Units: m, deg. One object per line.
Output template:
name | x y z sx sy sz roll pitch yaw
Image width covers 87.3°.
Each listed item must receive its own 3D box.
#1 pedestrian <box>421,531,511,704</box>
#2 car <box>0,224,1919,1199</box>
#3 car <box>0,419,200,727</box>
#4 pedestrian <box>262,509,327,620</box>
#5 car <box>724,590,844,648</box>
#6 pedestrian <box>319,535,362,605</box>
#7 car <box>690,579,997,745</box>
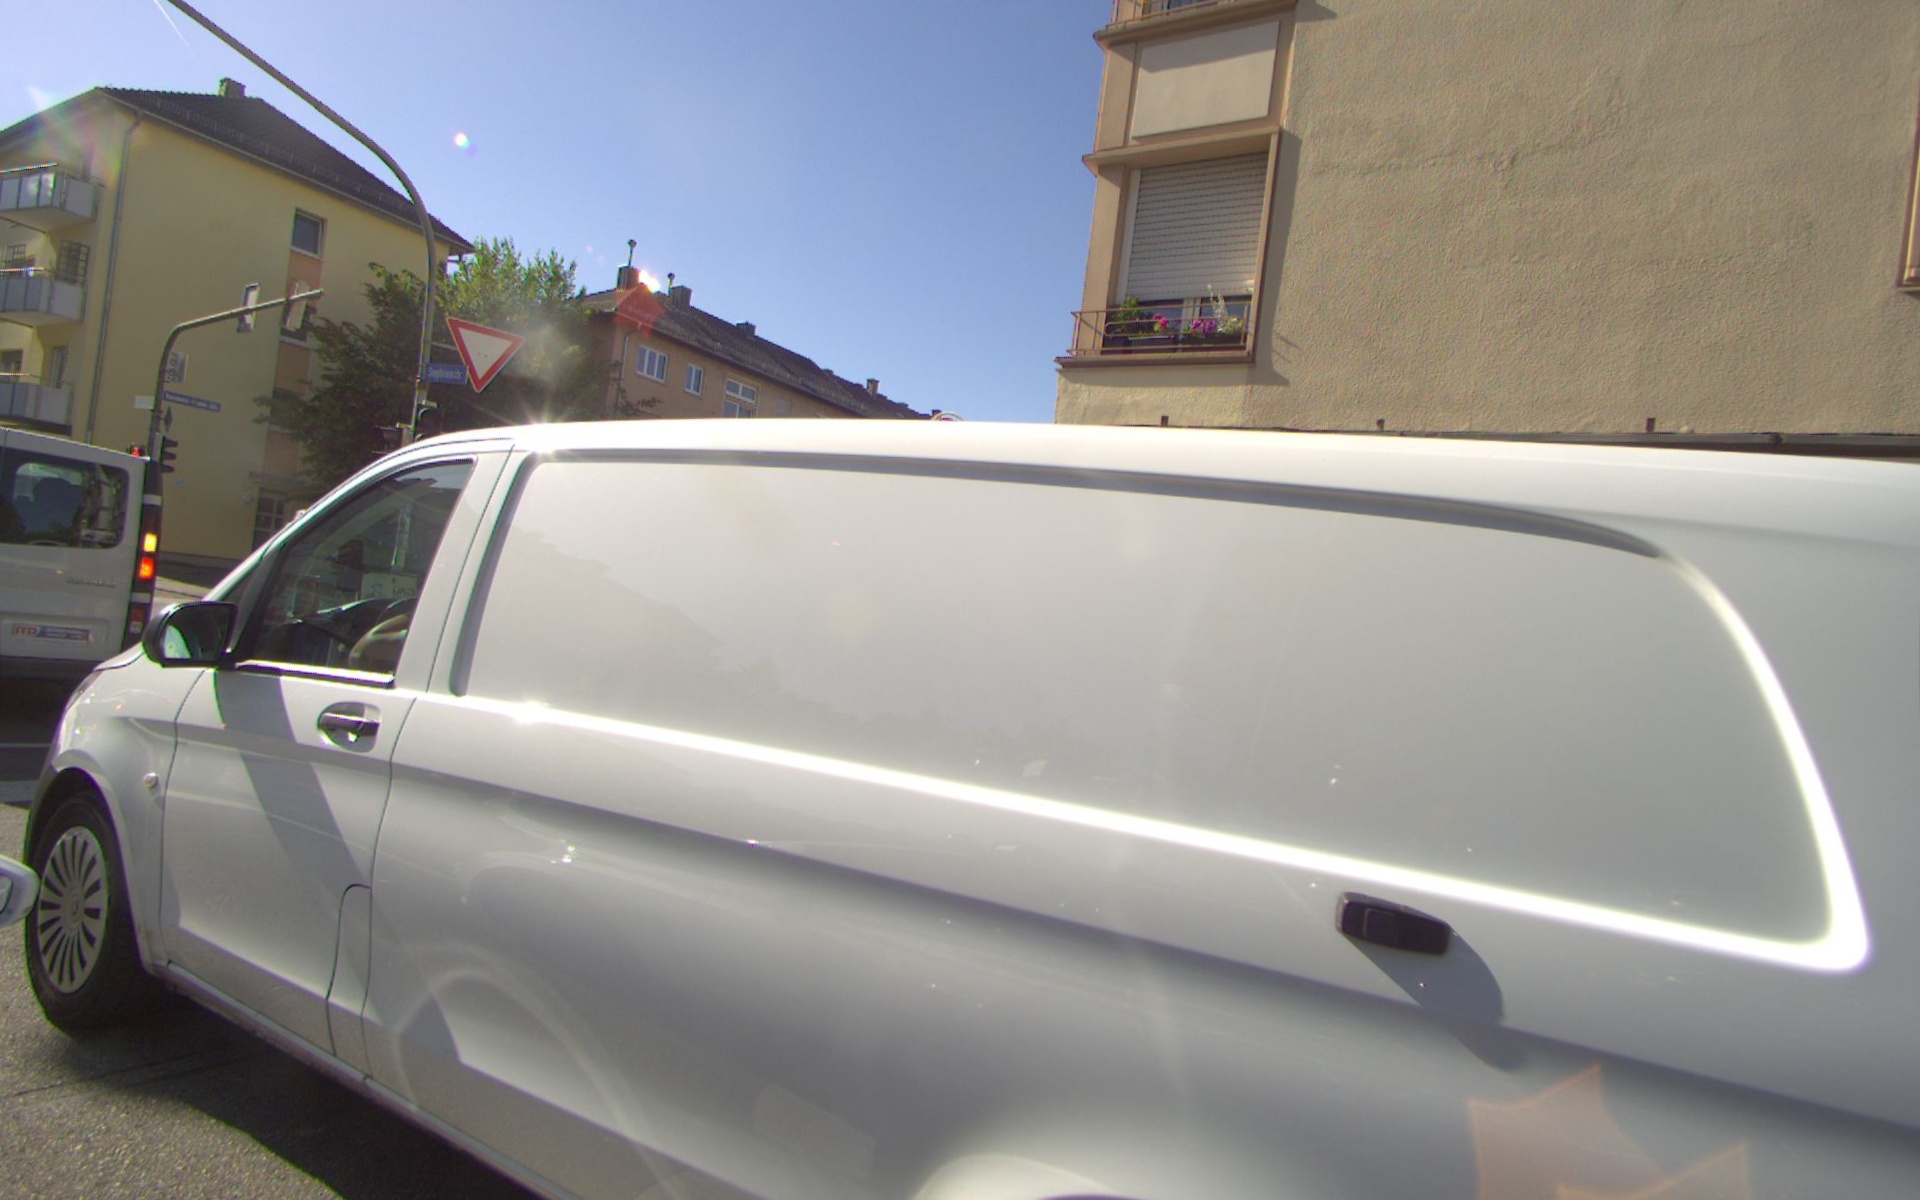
pedestrian | -5.546 0.190 11.289 0.601 1.844 0.622 7 0 -38
car | -0.534 0.451 2.814 4.751 1.832 1.972 7 -1 31
car | -8.103 -0.376 8.186 4.986 1.962 1.967 6 -3 42
pedestrian | -11.256 -0.595 17.018 0.612 1.783 0.526 7 0 30
car | -6.290 0.732 36.377 1.967 1.592 3.993 7 -1 32
pedestrian | -14.838 -0.714 24.106 0.530 1.590 0.539 7 0 32
car | -1.355 0.859 13.313 1.795 1.682 3.993 7 -1 32
